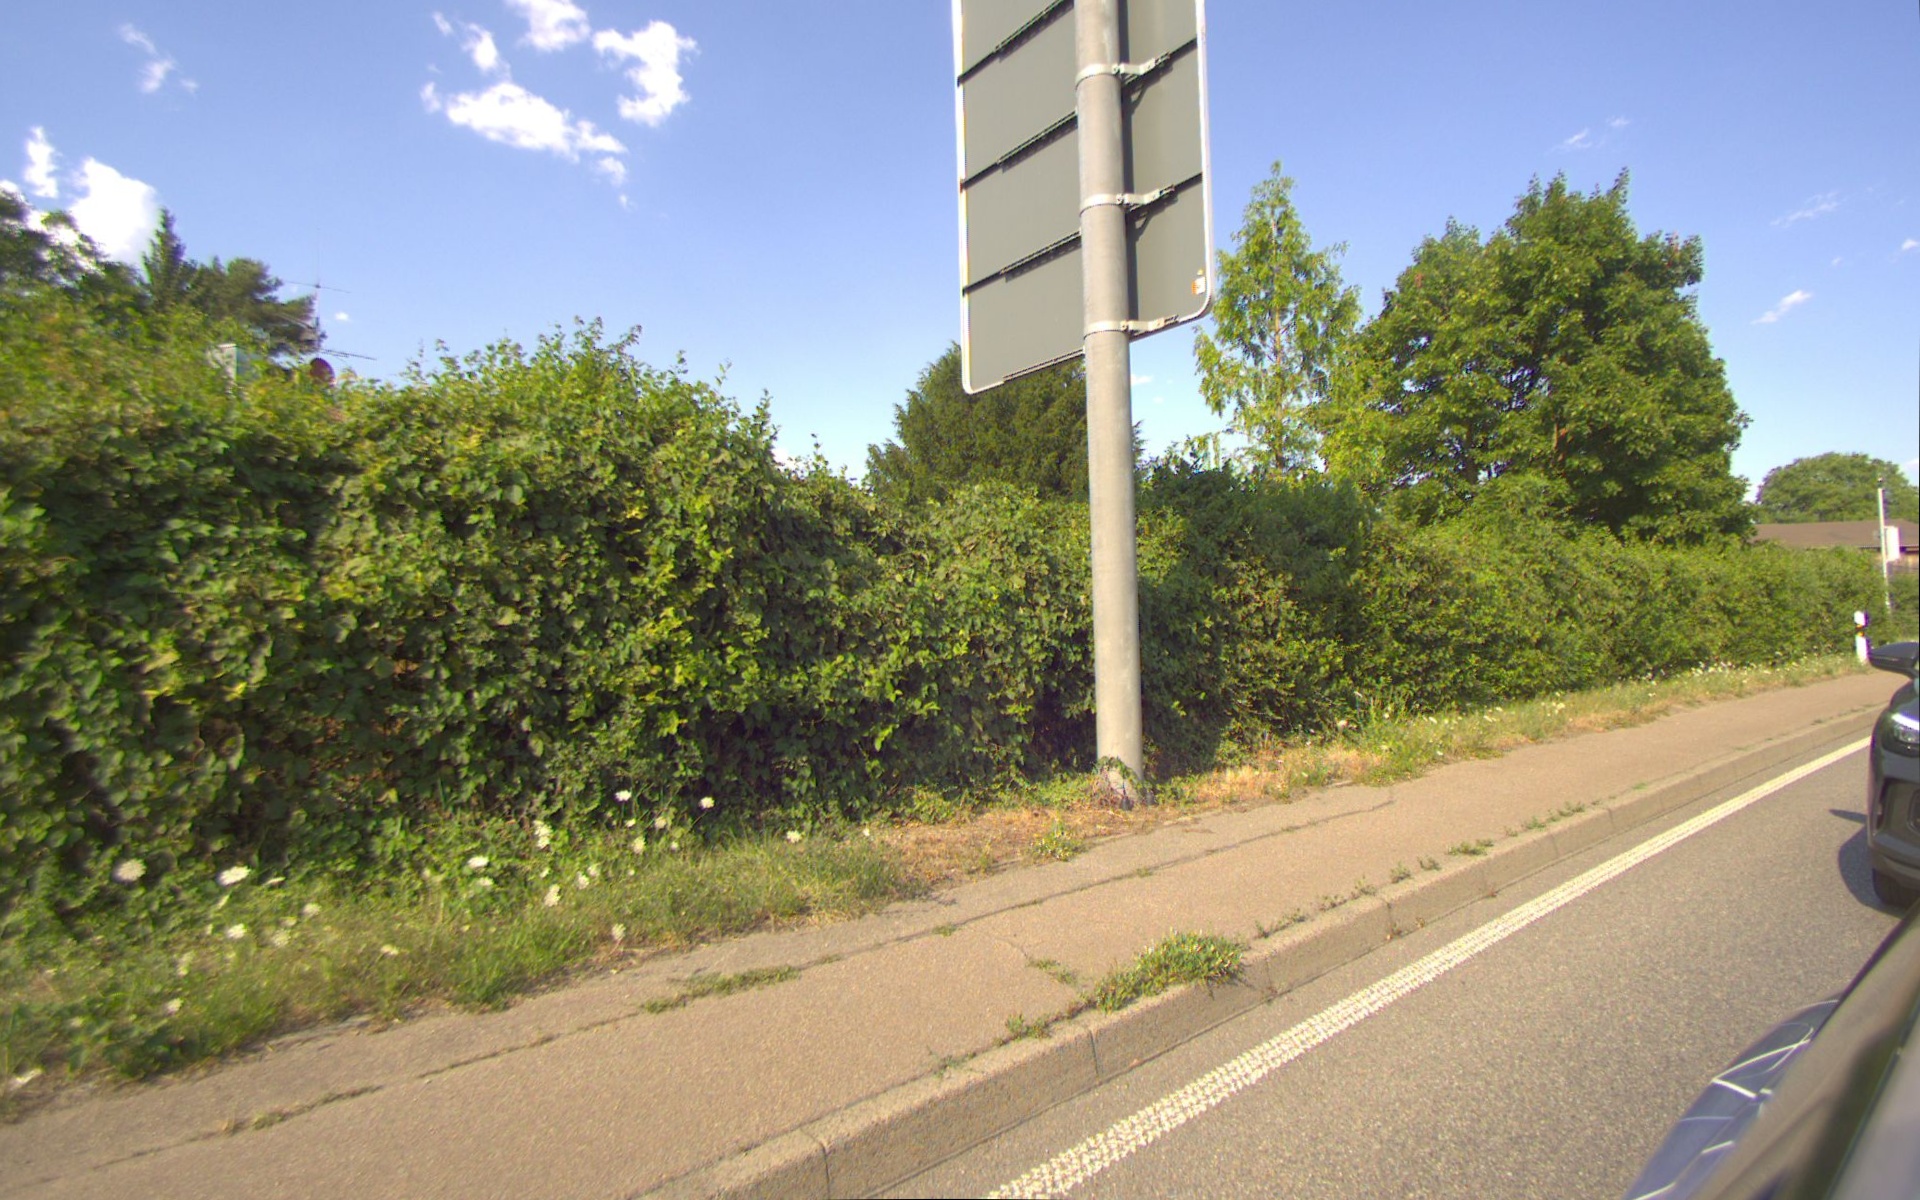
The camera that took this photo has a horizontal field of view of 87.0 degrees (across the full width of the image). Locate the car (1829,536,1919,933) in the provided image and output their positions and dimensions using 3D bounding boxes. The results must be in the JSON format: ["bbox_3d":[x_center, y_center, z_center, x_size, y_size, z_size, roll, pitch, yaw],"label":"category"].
[{"bbox_3d":[5.939,0.532,4.982,3.929,1.662,1.865,-2,2,-39],"label":"car"}]
